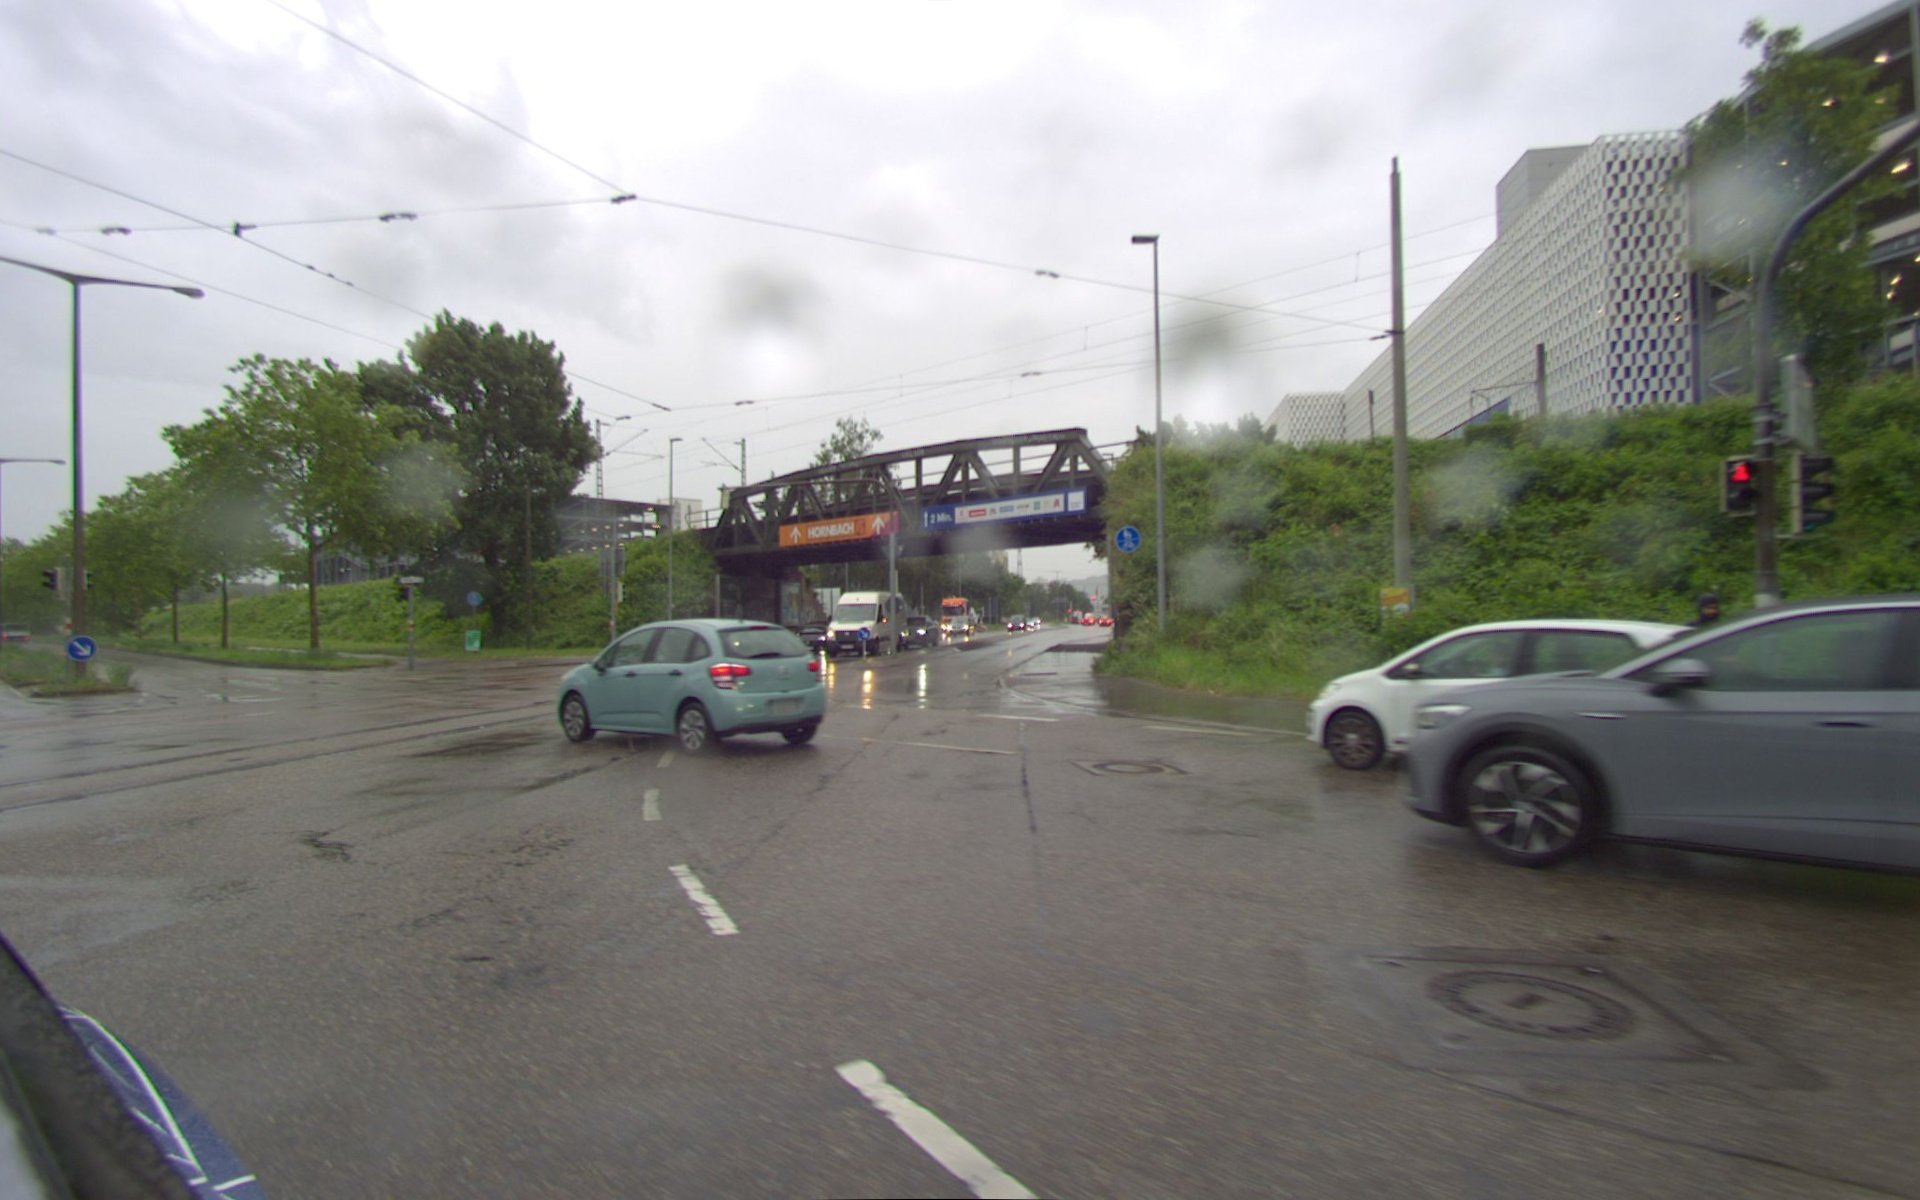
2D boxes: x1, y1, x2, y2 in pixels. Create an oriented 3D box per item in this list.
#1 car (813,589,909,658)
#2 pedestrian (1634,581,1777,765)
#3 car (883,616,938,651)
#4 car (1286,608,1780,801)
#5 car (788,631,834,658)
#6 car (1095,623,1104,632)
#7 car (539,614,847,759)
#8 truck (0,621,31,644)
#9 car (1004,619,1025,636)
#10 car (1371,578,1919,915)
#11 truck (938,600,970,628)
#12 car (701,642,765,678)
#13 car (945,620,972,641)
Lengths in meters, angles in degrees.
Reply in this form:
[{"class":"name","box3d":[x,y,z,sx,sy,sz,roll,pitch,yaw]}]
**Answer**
[{"class":"car","box3d":[-4.014,0.944,42.494,2.360,2.631,6.959,-1,-1,9]},{"class":"pedestrian","box3d":[8.037,0.752,10.985,1.127,1.861,1.093,-1,-1,33]},{"class":"car","box3d":[-2.382,1.612,50.362,1.861,1.612,4.940,-1,-1,8]},{"class":"car","box3d":[5.243,0.846,9.558,3.787,1.463,1.620,-2,-2,42]},{"class":"car","box3d":[-8.656,2.562,59.183,1.672,1.445,4.139,-2,-1,6]},{"class":"car","box3d":[26.167,5.164,189.575,1.636,1.612,3.899,-1,-1,9]},{"class":"car","box3d":[-3.342,0.950,12.295,3.960,1.484,1.622,-2,-2,39]},{"class":"truck","box3d":[-102.790,3.524,109.624,6.864,2.383,2.449,-2,-1,41]},{"class":"car","box3d":[5.290,2.614,97.212,1.636,1.612,3.899,-1,-1,9]},{"class":"car","box3d":[5.010,0.702,5.552,4.809,1.598,1.744,-1,-1,40]},{"class":"truck","box3d":[-0.590,1.506,111.565,2.522,2.847,8.170,-3,-1,6]},{"class":"car","box3d":[-10.591,2.786,47.560,1.672,1.445,4.139,-2,-1,6]},{"class":"car","box3d":[-0.096,2.466,82.967,1.636,1.612,3.899,-1,-1,9]}]
